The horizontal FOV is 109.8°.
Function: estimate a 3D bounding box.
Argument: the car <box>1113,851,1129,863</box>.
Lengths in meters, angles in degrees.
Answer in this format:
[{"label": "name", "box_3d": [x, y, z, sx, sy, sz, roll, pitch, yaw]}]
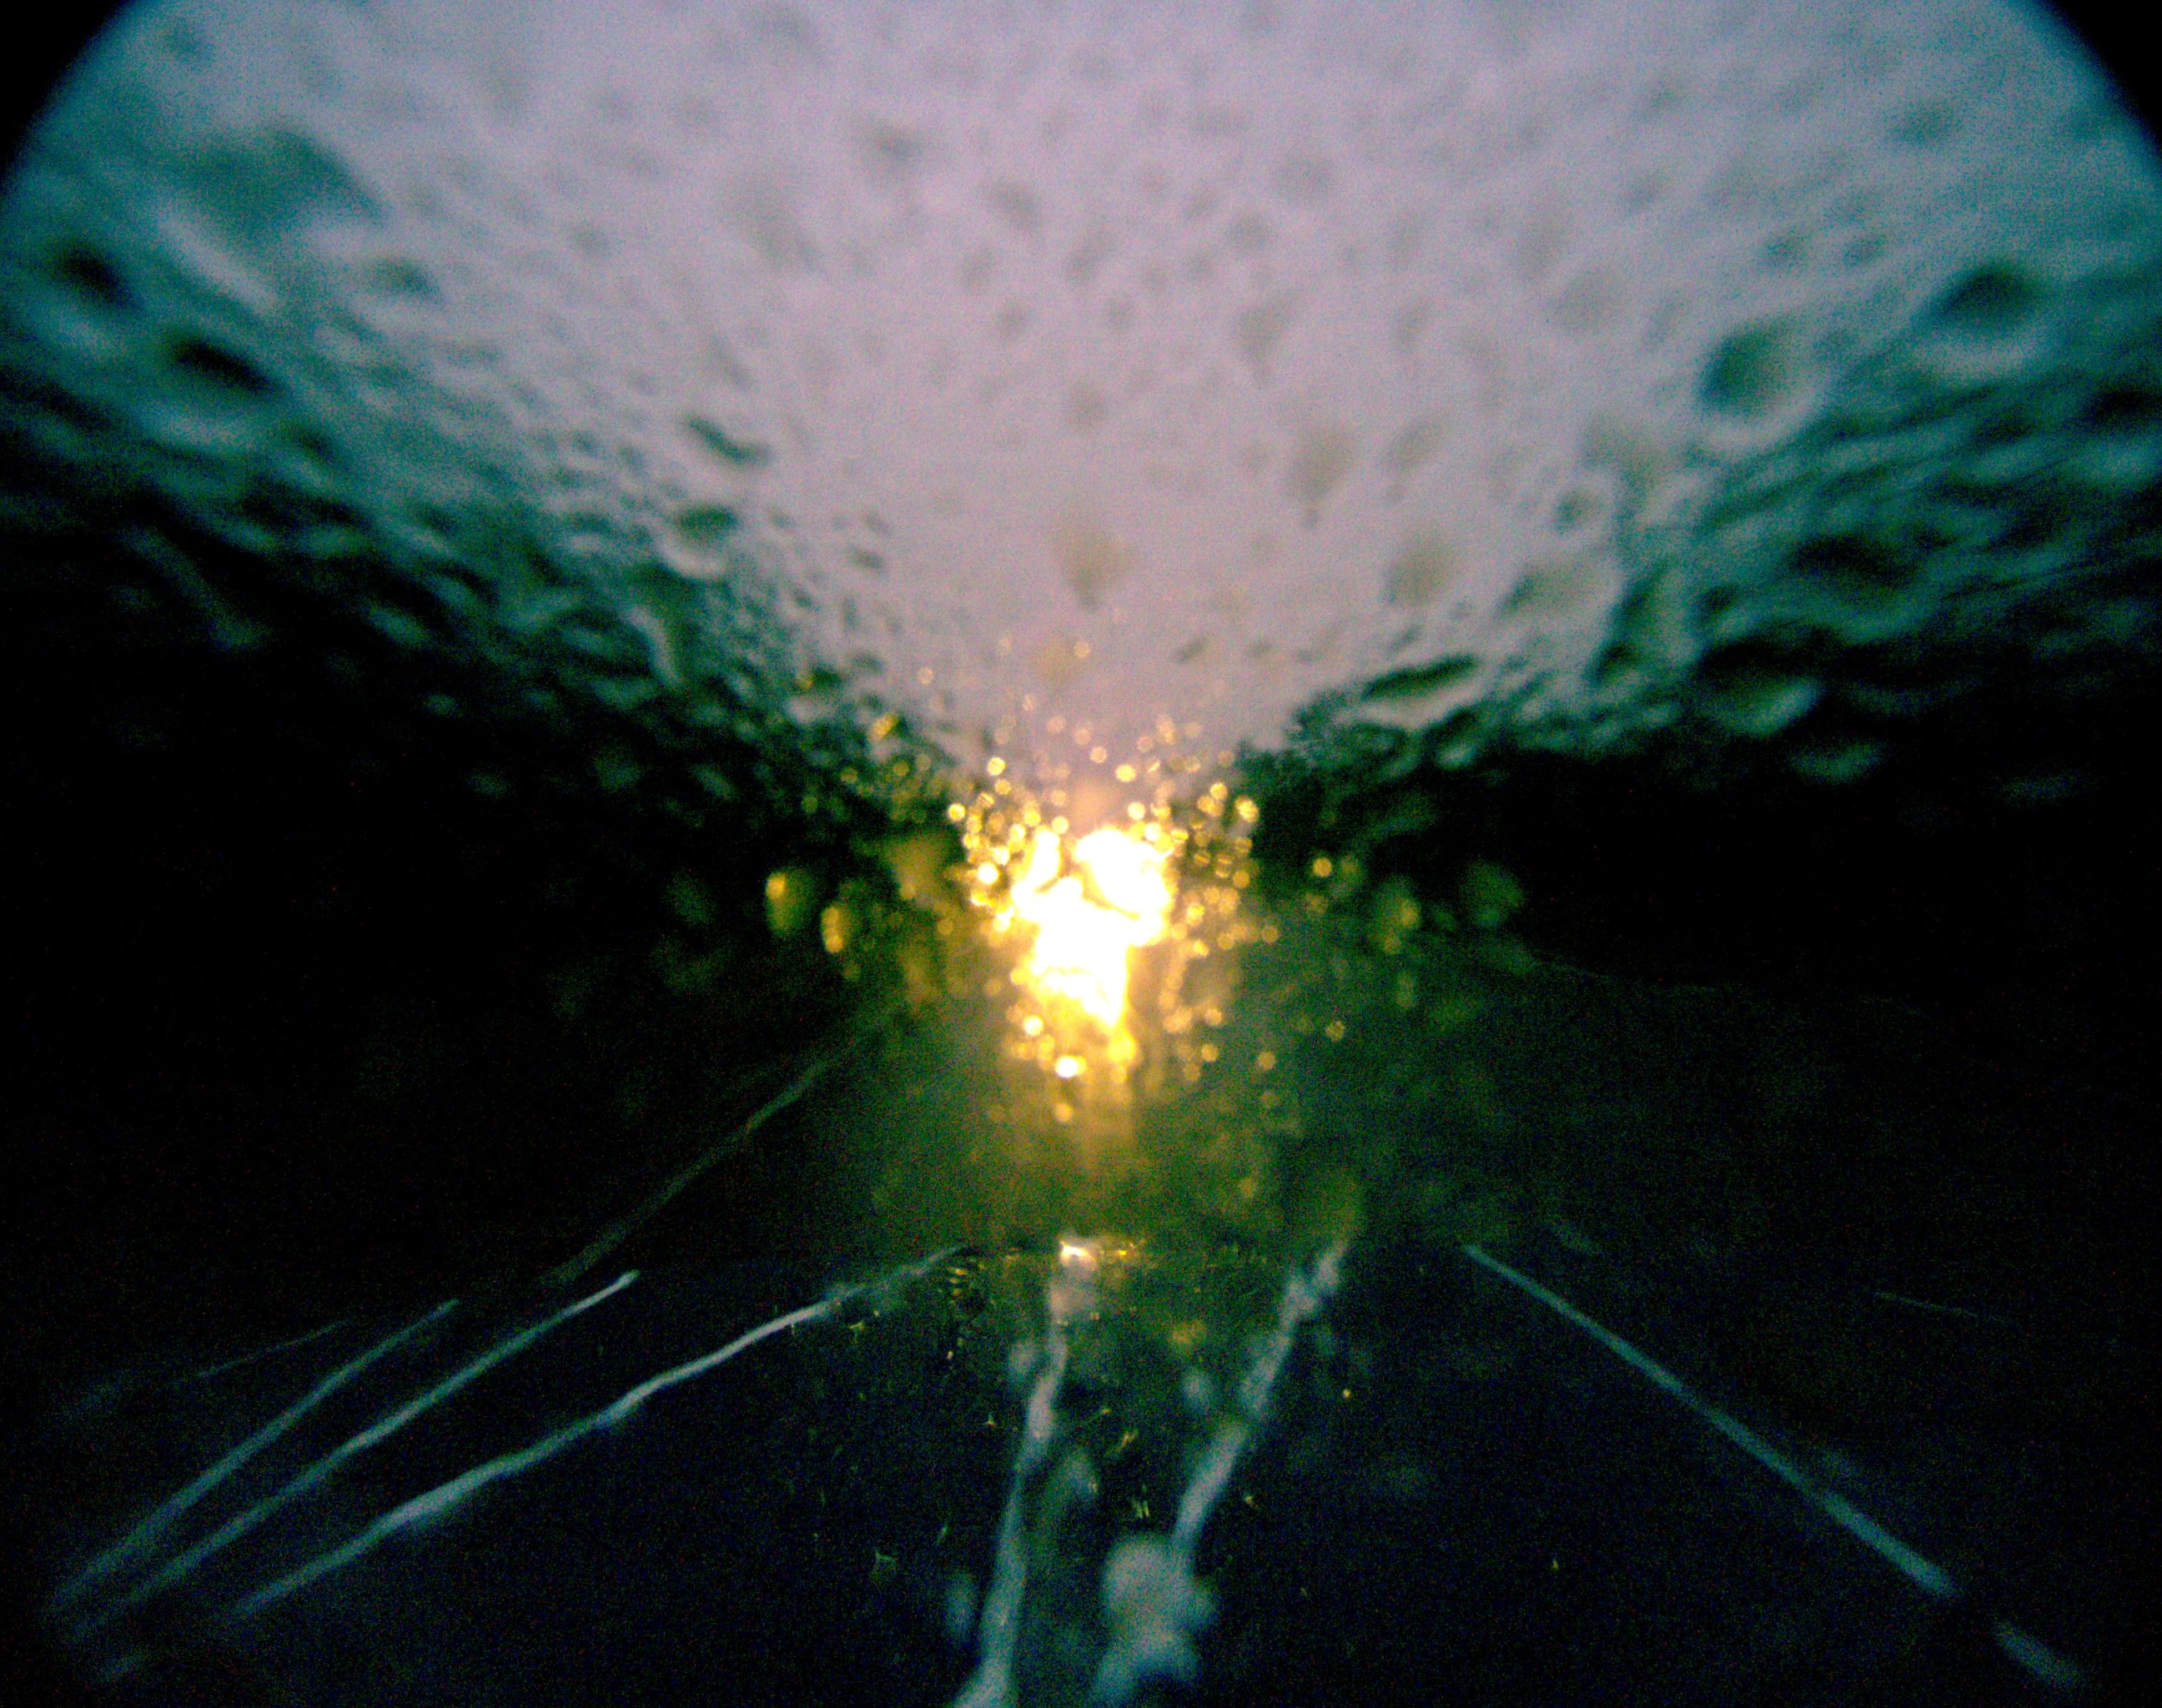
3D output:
[{"label": "car", "box_3d": [5.157, 0.343, 98.144, 1.702, 1.487, 5.664, -2, 0, 1]}]
